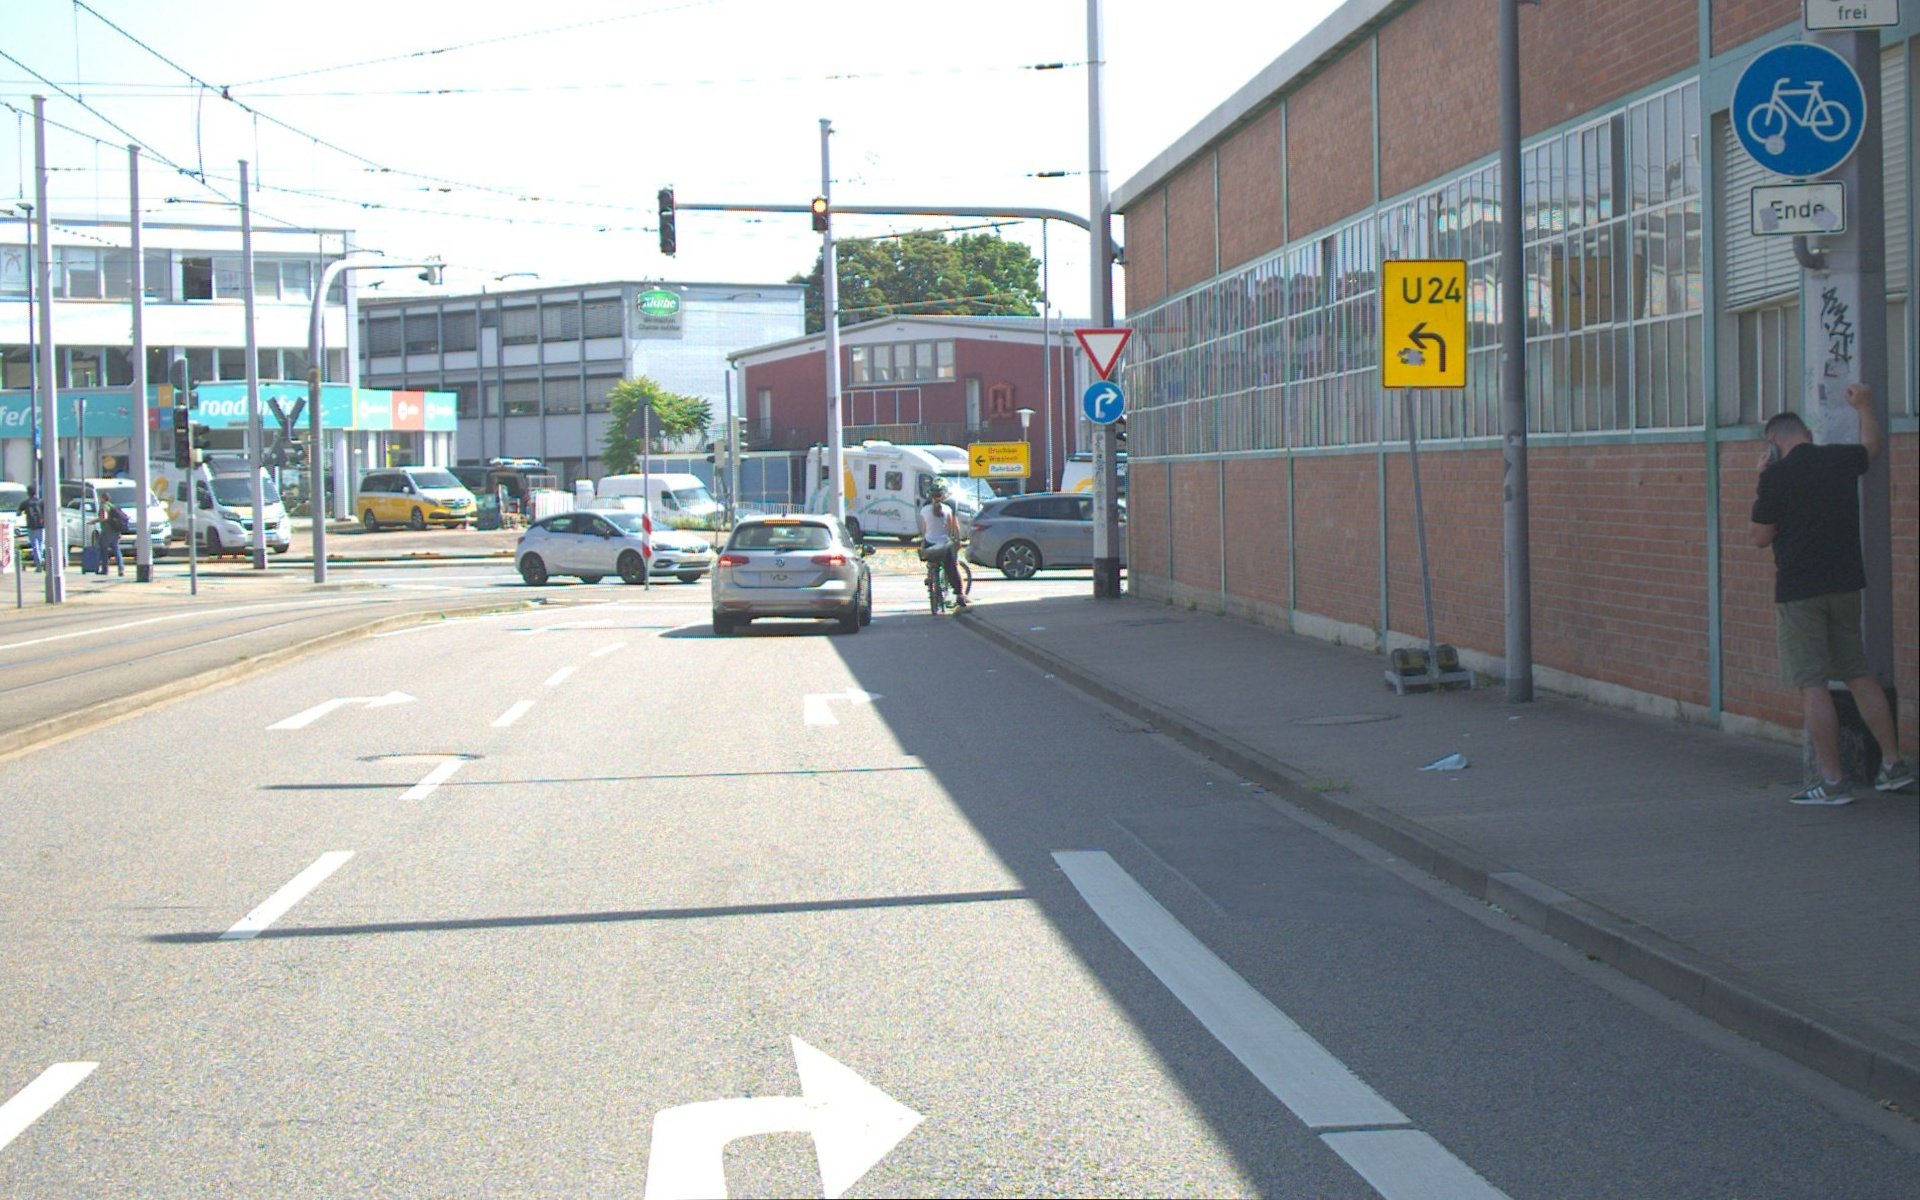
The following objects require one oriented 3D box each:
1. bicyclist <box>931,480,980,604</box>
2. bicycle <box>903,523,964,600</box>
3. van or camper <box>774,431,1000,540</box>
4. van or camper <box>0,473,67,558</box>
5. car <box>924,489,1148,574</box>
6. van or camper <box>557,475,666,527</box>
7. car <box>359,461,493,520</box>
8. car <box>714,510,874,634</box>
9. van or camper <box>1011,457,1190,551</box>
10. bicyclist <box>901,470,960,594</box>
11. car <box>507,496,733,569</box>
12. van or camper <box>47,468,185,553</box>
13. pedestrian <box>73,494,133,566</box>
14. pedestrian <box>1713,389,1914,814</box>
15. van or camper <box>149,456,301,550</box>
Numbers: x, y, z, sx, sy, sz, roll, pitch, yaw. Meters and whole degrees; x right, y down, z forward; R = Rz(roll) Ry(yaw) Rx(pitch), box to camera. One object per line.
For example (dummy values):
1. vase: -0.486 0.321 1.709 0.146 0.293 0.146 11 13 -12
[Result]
1. bicyclist: -0.067 -0.855 50.377 0.708 1.804 0.983 -1 2 0
2. bicycle: -0.362 -0.552 48.258 0.794 1.018 2.151 0 2 1
3. van or camper: -2.161 -3.346 99.170 2.348 2.920 6.982 -4 6 -44
4. van or camper: -25.232 -2.248 90.299 1.994 2.006 4.763 -3 5 -32
5. car: 1.446 -1.294 64.203 3.988 1.503 1.879 -1 2 7
6. van or camper: -13.512 -3.824 133.071 3.997 1.941 1.995 1 2 41
7. car: -16.537 -3.360 106.206 1.939 1.753 5.121 -2 2 -36
8. car: -2.055 -0.392 43.510 1.746 1.454 4.000 -1 2 1
9. van or camper: 4.108 -2.863 101.418 2.283 2.431 5.385 -4 6 -39
10. bicyclist: -0.408 -0.960 48.153 0.786 1.715 1.147 0 2 1
11. car: -6.646 -1.319 67.088 4.199 1.370 1.799 0 2 35
12. van or camper: -22.323 -2.391 90.811 1.994 2.006 5.011 -3 5 -32
13. pedestrian: -17.387 -1.425 69.771 1.129 1.450 0.838 -1 2 -12
14. pedestrian: 3.615 -0.008 14.583 0.684 1.758 0.449 -1 4 -12
15. van or camper: -19.787 -2.655 92.332 2.031 2.288 5.813 -3 5 -32
